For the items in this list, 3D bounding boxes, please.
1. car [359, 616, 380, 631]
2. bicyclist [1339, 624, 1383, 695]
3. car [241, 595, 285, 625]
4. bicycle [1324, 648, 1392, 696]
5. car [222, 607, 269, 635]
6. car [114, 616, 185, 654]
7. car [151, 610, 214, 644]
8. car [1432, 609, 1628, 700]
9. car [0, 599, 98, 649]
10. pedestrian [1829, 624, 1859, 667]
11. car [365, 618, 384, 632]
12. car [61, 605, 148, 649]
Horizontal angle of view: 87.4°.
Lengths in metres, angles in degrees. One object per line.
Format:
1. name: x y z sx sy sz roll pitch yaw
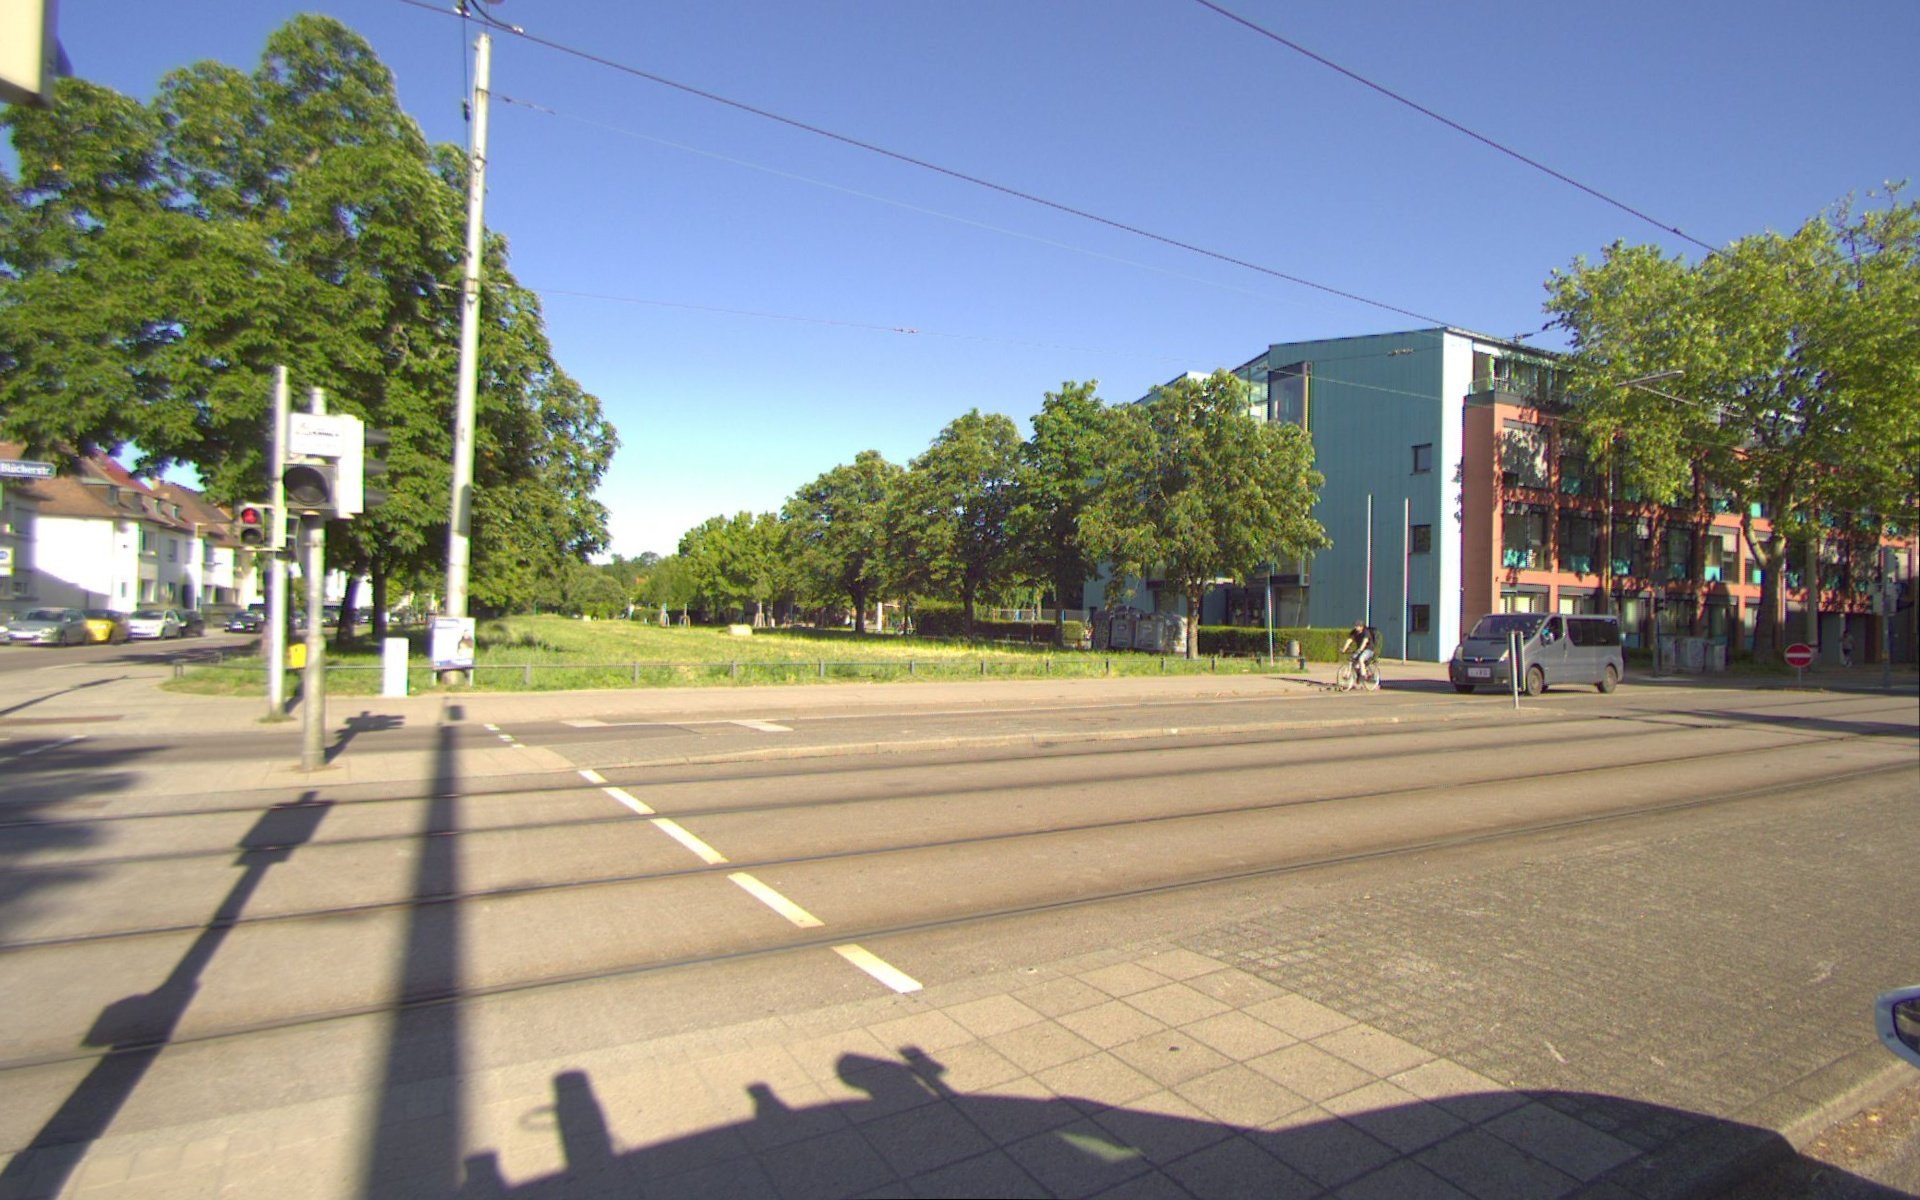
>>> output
1. car: -73.451 2.941 125.013 1.792 1.766 3.863 1 -1 -25
2. bicyclist: 10.006 1.465 25.067 0.891 1.733 0.584 1 -2 -30
3. car: -49.959 0.731 72.072 1.792 2.122 4.158 1 -1 -25
4. bicycle: 9.923 1.780 25.011 1.805 1.128 0.584 1 -2 -30
5. car: -47.263 1.387 66.471 1.792 1.766 3.863 1 -1 -25
6. car: -39.775 1.697 49.390 1.792 1.766 3.863 1 -1 -25
7. car: -41.726 1.443 54.011 1.792 1.766 3.863 1 -1 -25
8. car: 14.132 1.276 24.819 5.192 2.040 2.009 0 -2 -33
9. car: -34.739 0.903 38.226 1.792 1.766 4.176 1 -1 -25
10. pedestrian: 43.210 2.192 49.112 0.773 2.041 0.904 1 1 -36
11. car: -78.602 3.332 134.969 1.792 1.766 3.863 1 -1 -25
12. car: -36.434 1.144 42.876 1.792 1.766 3.863 2 -1 -25
